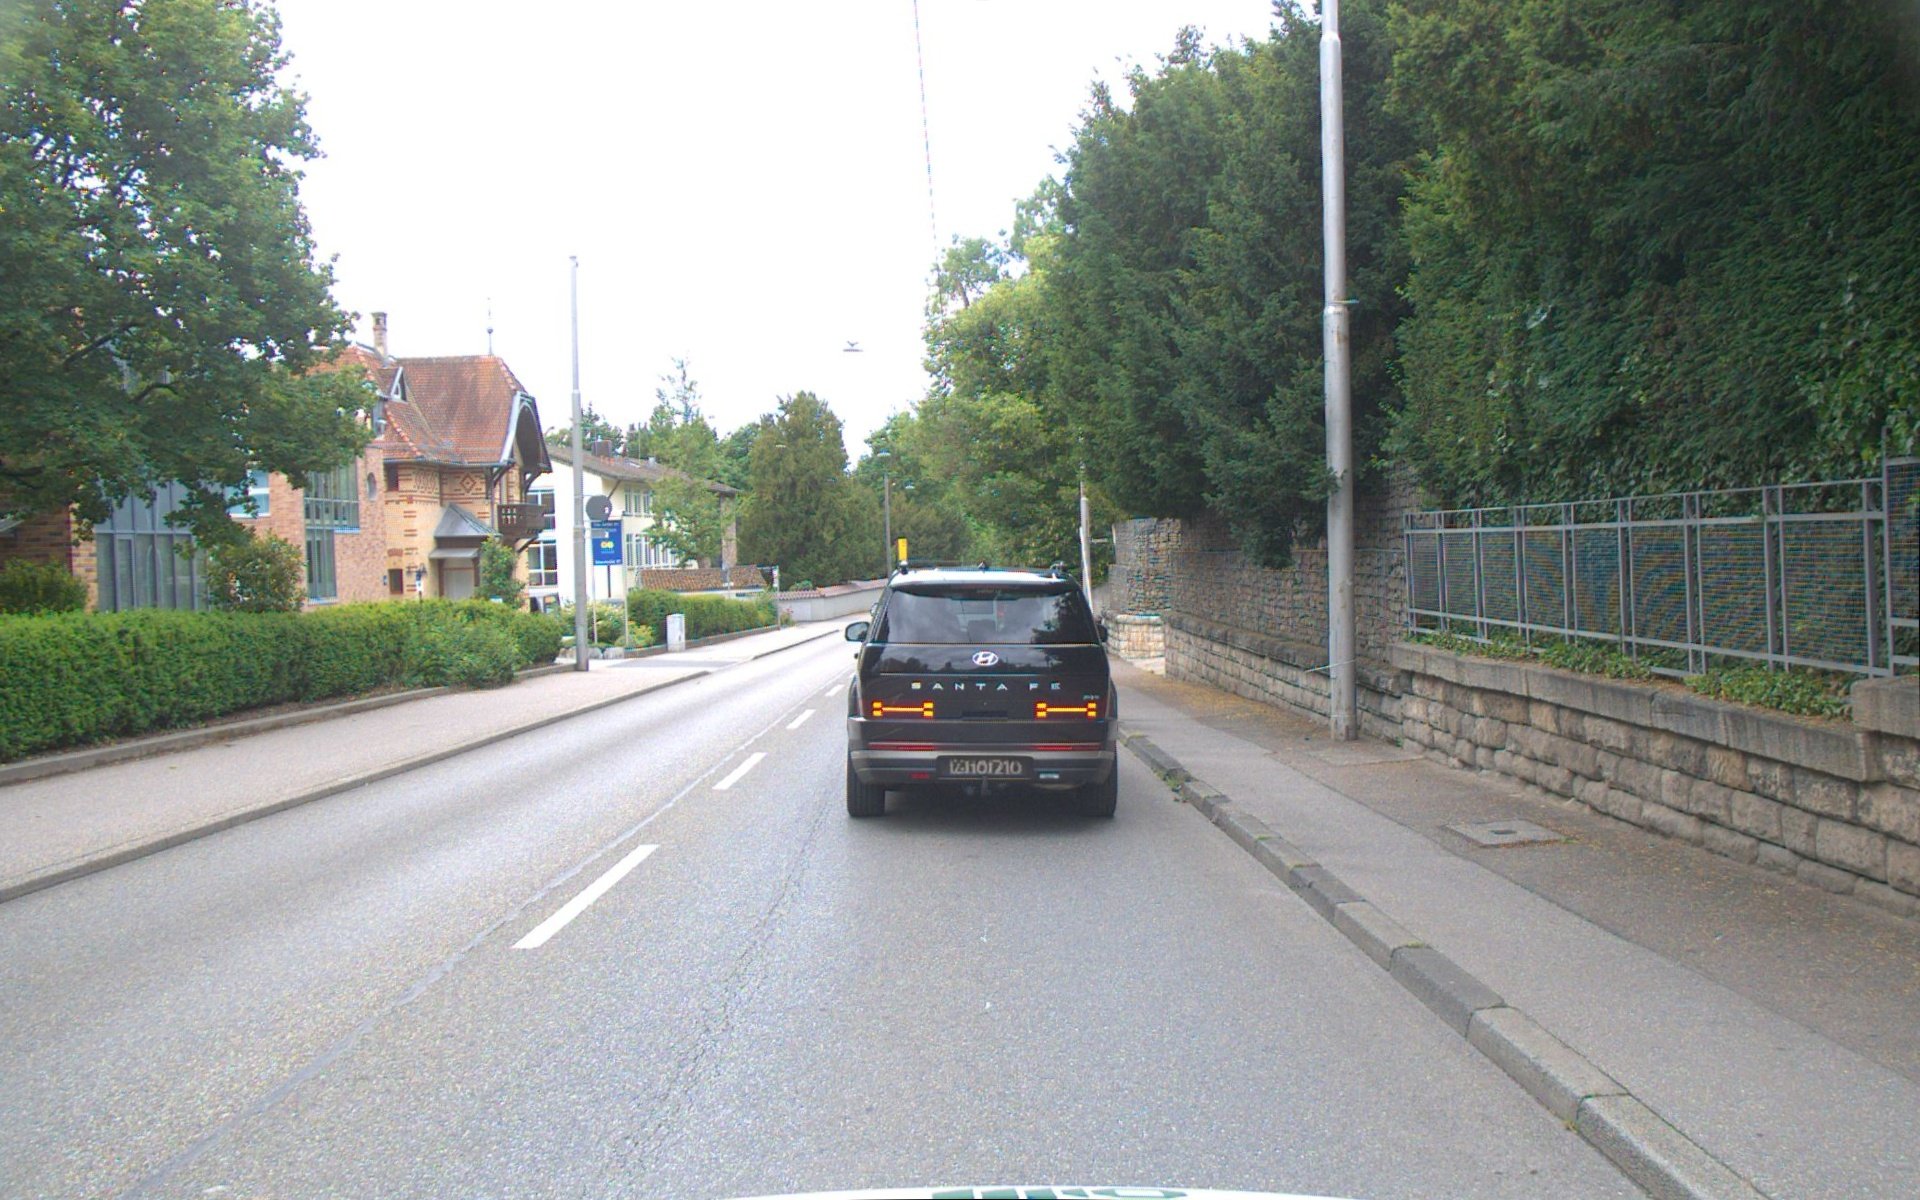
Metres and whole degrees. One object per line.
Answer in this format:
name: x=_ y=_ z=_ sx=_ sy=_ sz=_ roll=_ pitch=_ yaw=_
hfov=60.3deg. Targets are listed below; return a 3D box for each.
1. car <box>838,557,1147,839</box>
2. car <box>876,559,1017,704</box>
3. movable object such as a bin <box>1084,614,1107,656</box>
car: x=0.205 y=0.593 z=12.450 sx=1.917 sy=1.743 sz=4.223 roll=1 pitch=1 yaw=0
car: x=-0.297 y=0.386 z=25.064 sx=1.918 sy=1.990 sz=4.221 roll=1 pitch=1 yaw=-3
movable object such as a bin: x=3.192 y=0.819 z=38.950 sx=0.436 sy=0.925 sz=0.394 roll=-5 pitch=0 yaw=9
